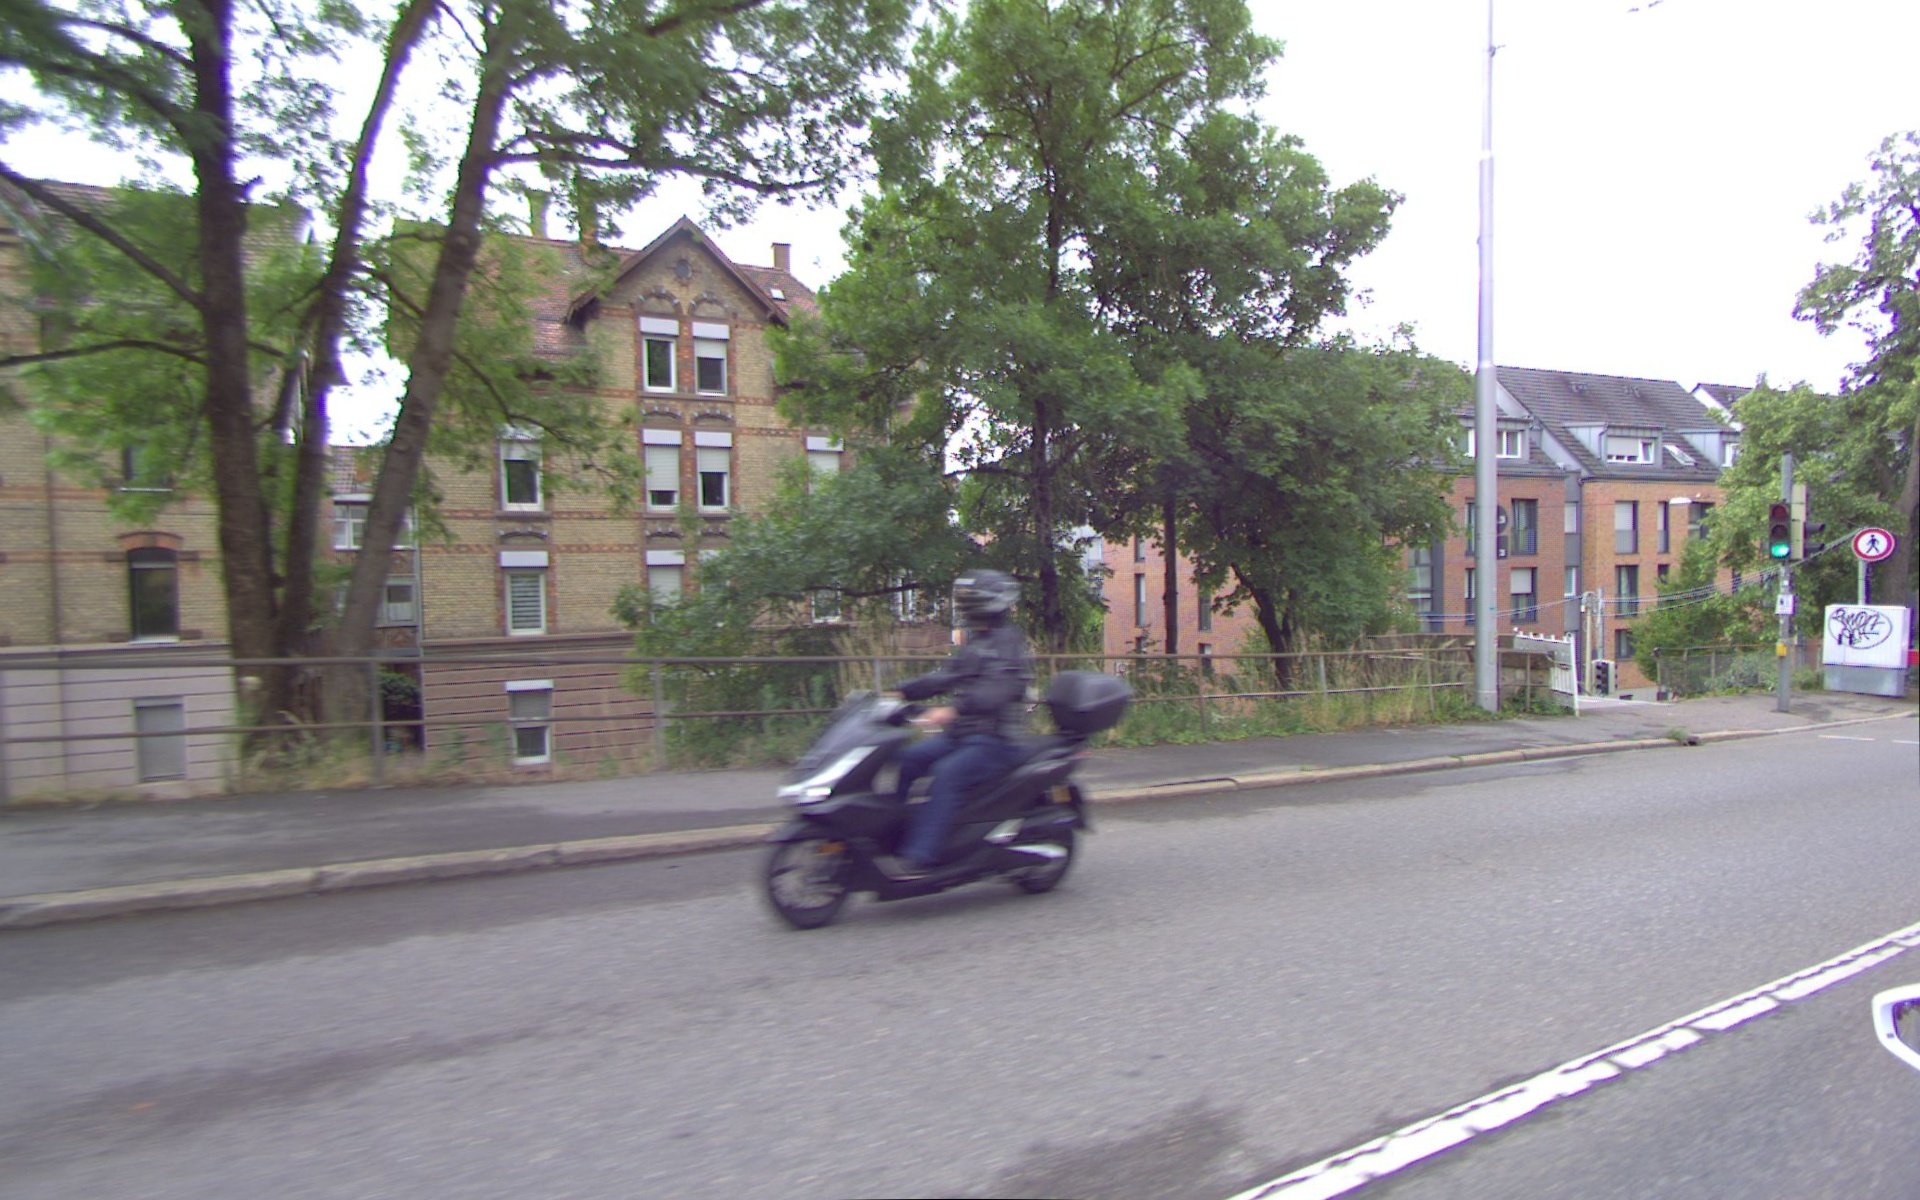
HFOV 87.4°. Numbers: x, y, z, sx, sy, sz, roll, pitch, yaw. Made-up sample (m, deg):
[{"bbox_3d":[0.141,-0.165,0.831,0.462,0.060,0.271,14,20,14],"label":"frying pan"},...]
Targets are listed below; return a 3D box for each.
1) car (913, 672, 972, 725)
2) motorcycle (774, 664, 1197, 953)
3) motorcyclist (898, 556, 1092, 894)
[{"bbox_3d":[-1.164,6.066,62.401,2.015,2.733,5.532,-2,0,-19],"label":"car"},{"bbox_3d":[0.169,0.929,5.076,2.033,1.160,0.781,1,-1,-30],"label":"motorcycle"},{"bbox_3d":[0.162,0.579,5.075,0.660,1.536,0.781,1,-1,-30],"label":"motorcyclist"}]
